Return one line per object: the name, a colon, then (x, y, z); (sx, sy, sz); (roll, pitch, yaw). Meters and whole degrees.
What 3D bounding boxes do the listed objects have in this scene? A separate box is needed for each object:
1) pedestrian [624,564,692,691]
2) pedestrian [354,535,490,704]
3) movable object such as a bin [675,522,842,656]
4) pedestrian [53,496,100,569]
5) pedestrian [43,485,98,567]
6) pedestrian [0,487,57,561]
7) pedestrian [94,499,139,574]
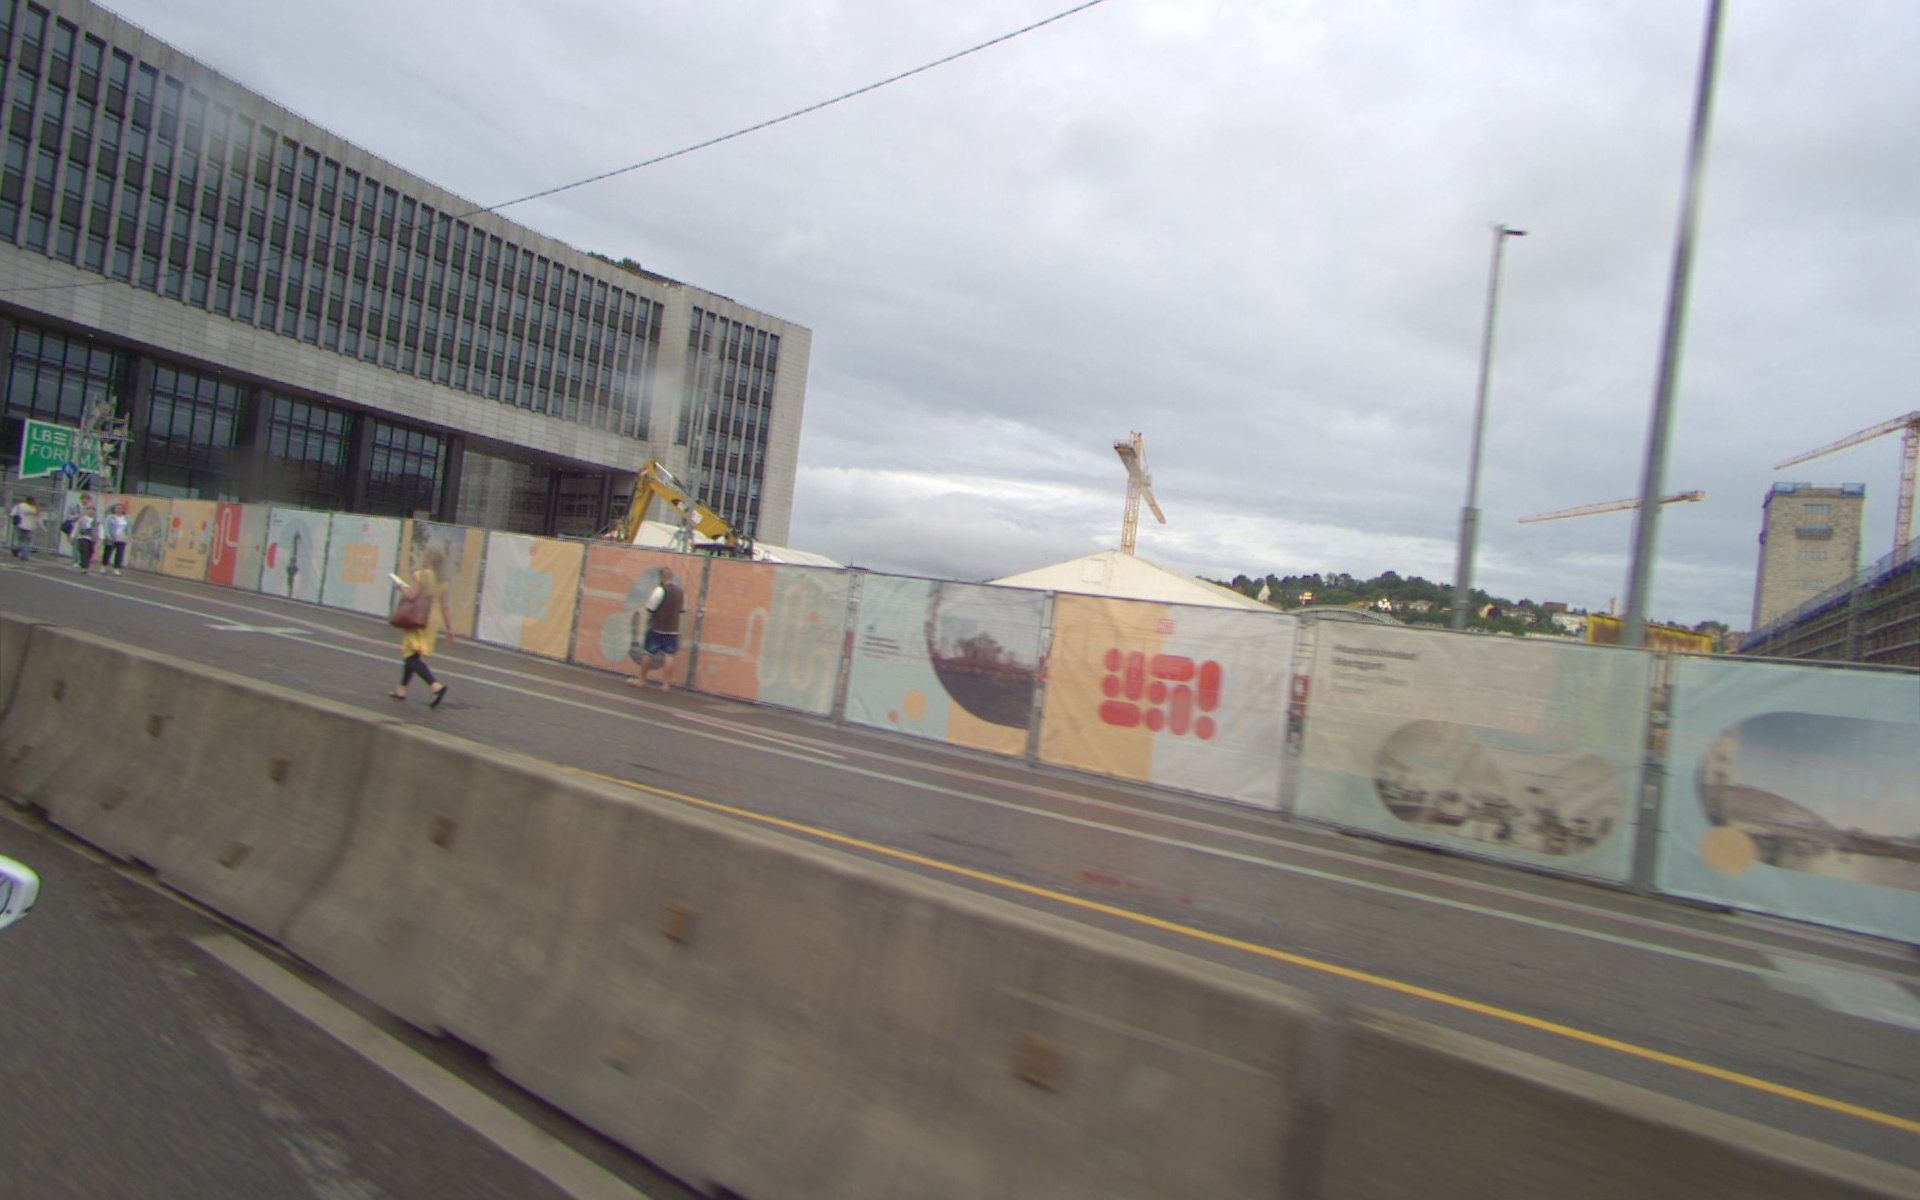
pedestrian: (-4.393, 0.412, 14.647); (0.487, 1.768, 0.567); (7, -1, 31)
pedestrian: (-5.732, 0.212, 10.744); (0.890, 1.651, 0.650); (7, -1, 14)
movable object such as a bin: (-6.032, -0.320, 30.246); (4.152, 3.448, 1.944); (7, -1, 20)
pedestrian: (-20.448, -1.554, 23.303); (0.644, 1.571, 0.757); (8, -1, -40)
pedestrian: (-21.947, -1.816, 24.847); (0.815, 1.870, 0.921); (8, -1, -40)
pedestrian: (-23.457, -1.916, 25.284); (0.994, 1.709, 0.865); (6, -1, 42)
pedestrian: (-20.095, -1.499, 23.979); (0.644, 1.674, 0.757); (8, -1, -40)
